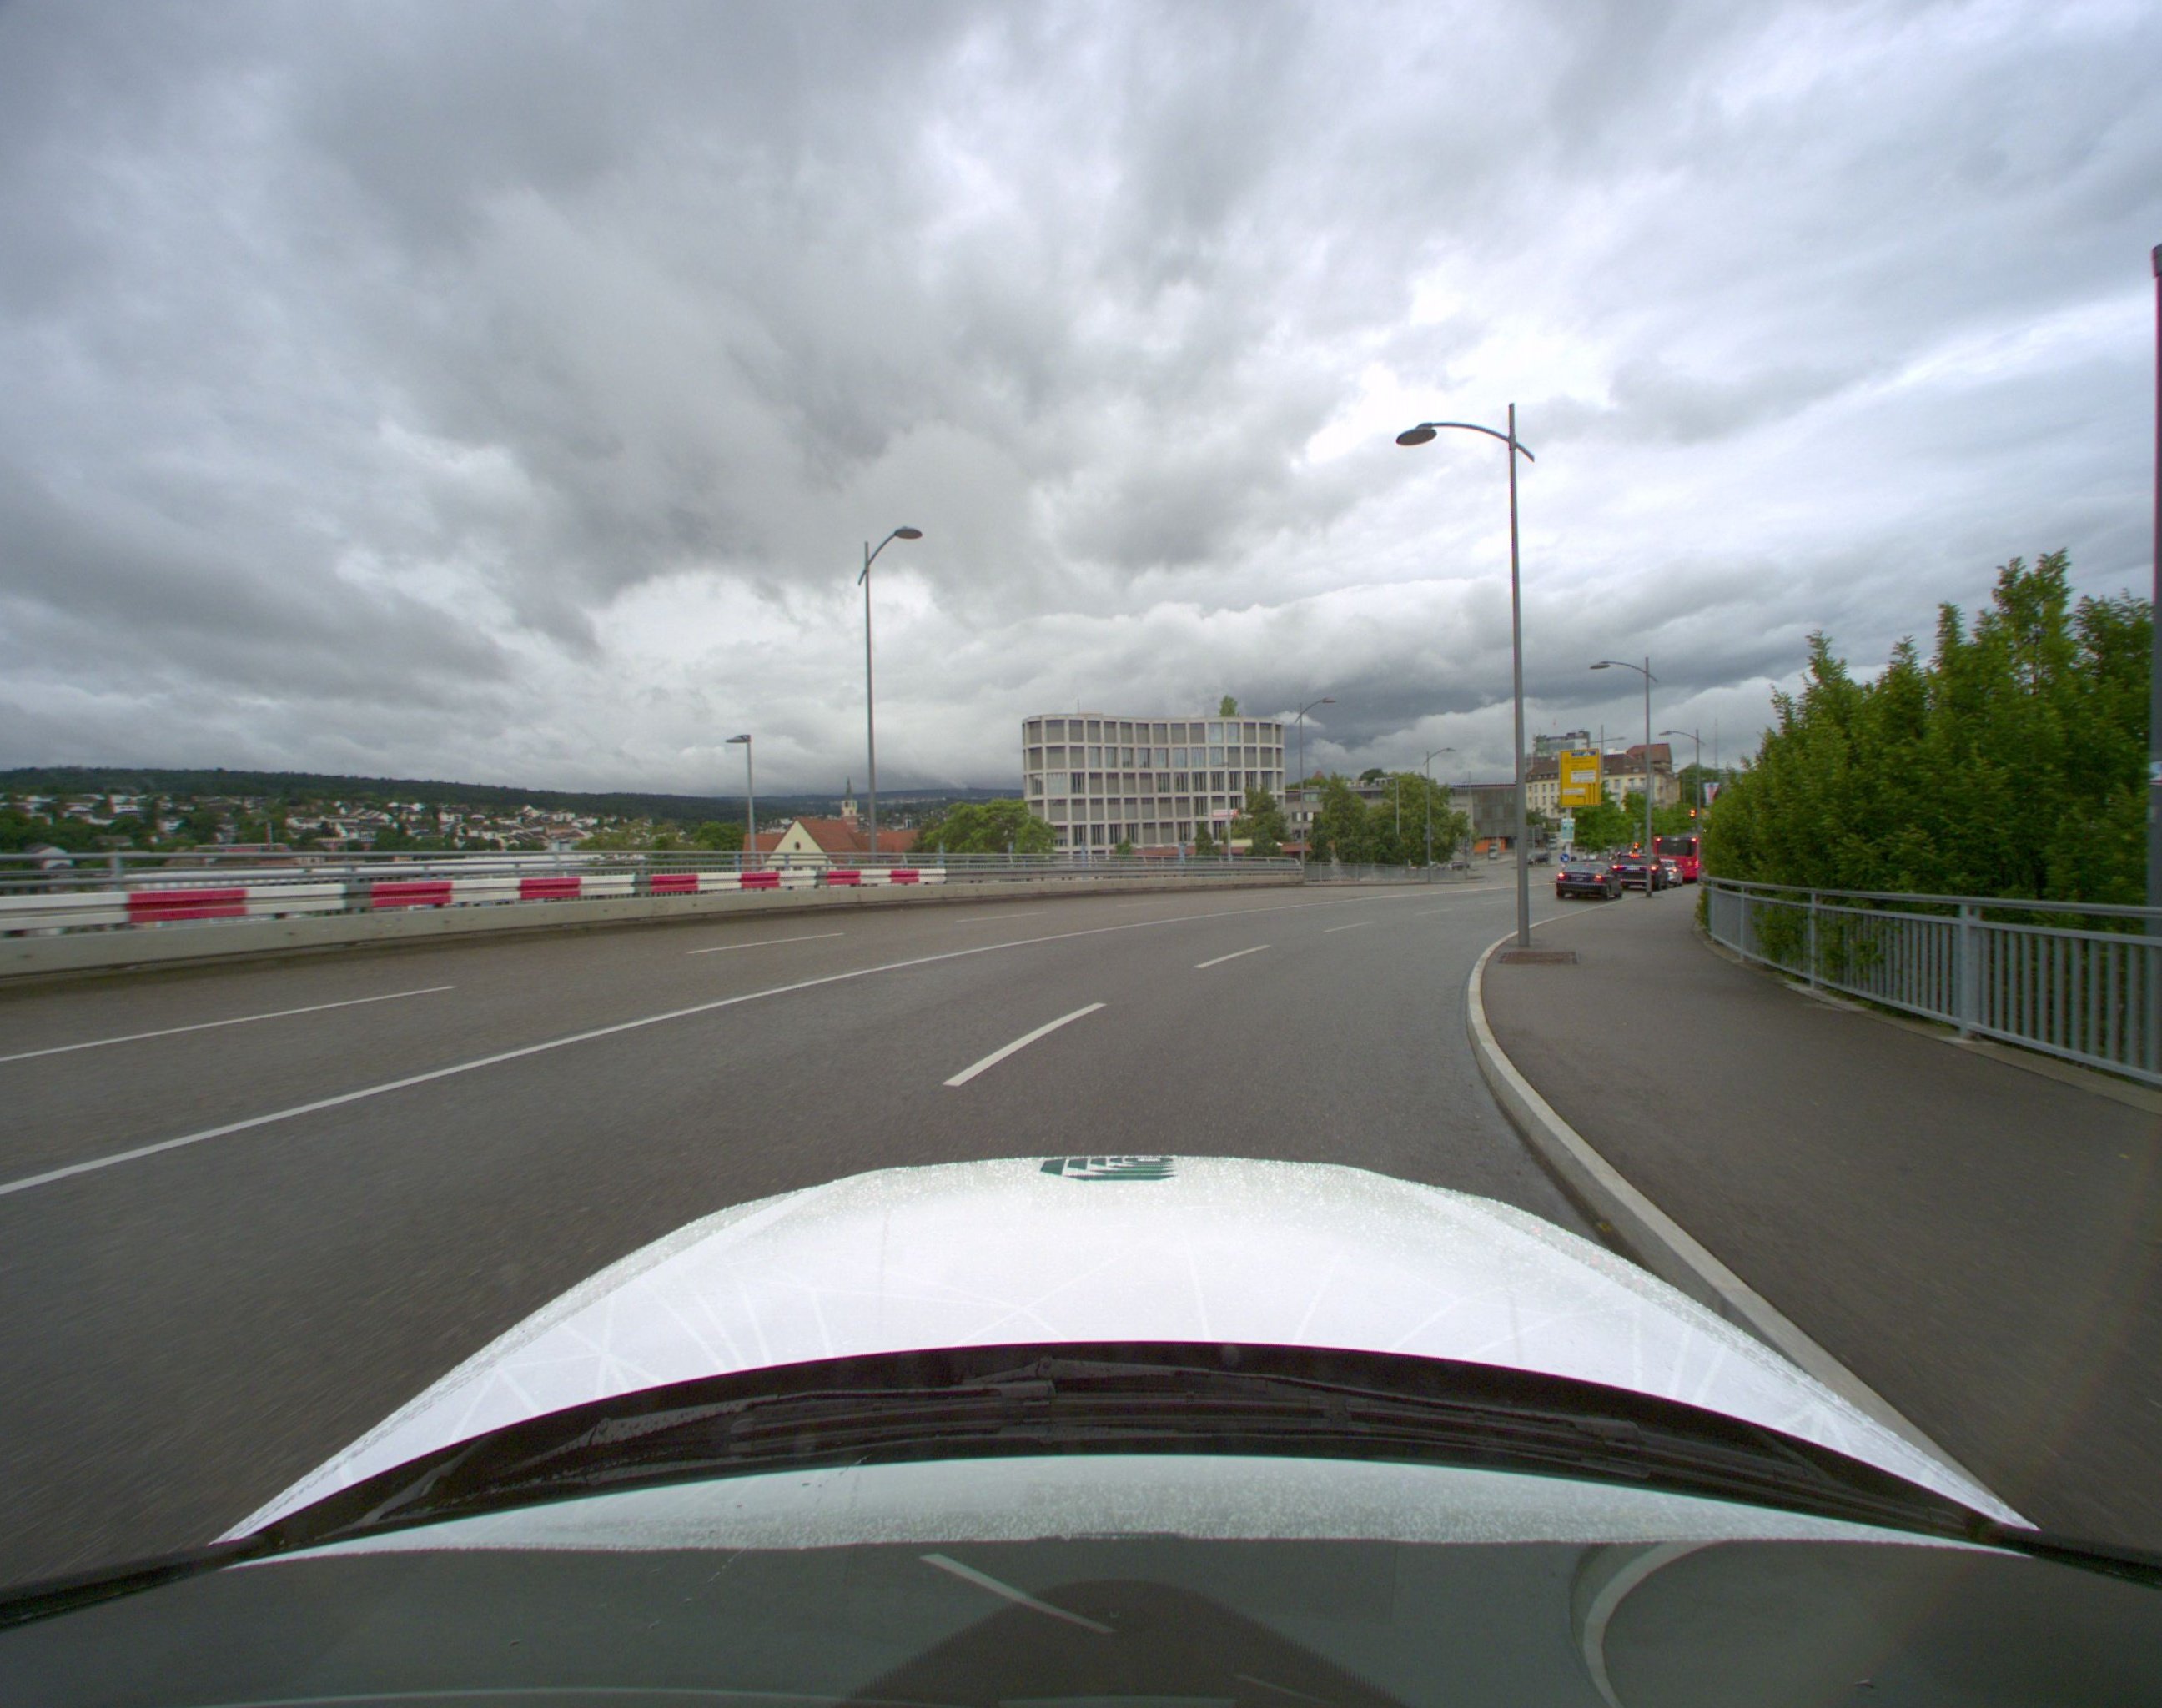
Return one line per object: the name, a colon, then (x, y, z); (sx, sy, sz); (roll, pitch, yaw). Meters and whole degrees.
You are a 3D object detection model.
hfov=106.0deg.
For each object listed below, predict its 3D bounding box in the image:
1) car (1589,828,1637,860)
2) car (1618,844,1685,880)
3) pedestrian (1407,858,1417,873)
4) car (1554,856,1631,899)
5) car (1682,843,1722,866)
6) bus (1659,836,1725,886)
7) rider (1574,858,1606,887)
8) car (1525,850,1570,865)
car: (34.826, -0.670, 53.264); (1.975, 2.006, 4.024); (2, 2, 43)
car: (28.333, 0.353, 40.424); (4.021, 1.687, 1.811); (0, 2, -42)
pedestrian: (32.243, 1.118, 79.331); (0.642, 1.408, 0.534); (0, 1, 45)
car: (19.369, 0.829, 30.769); (1.690, 1.419, 3.747); (1, 2, 45)
car: (41.269, 0.029, 54.093); (1.743, 1.436, 4.024); (2, 2, 42)
bus: (42.681, 0.423, 56.712); (2.801, 3.189, 10.372); (2, 1, 41)
rider: (27.362, 0.969, 43.759); (2.208, 1.471, 0.873); (0, 2, -42)
car: (68.399, 0.460, 119.378); (5.598, 2.013, 1.998); (-1, 1, -3)
